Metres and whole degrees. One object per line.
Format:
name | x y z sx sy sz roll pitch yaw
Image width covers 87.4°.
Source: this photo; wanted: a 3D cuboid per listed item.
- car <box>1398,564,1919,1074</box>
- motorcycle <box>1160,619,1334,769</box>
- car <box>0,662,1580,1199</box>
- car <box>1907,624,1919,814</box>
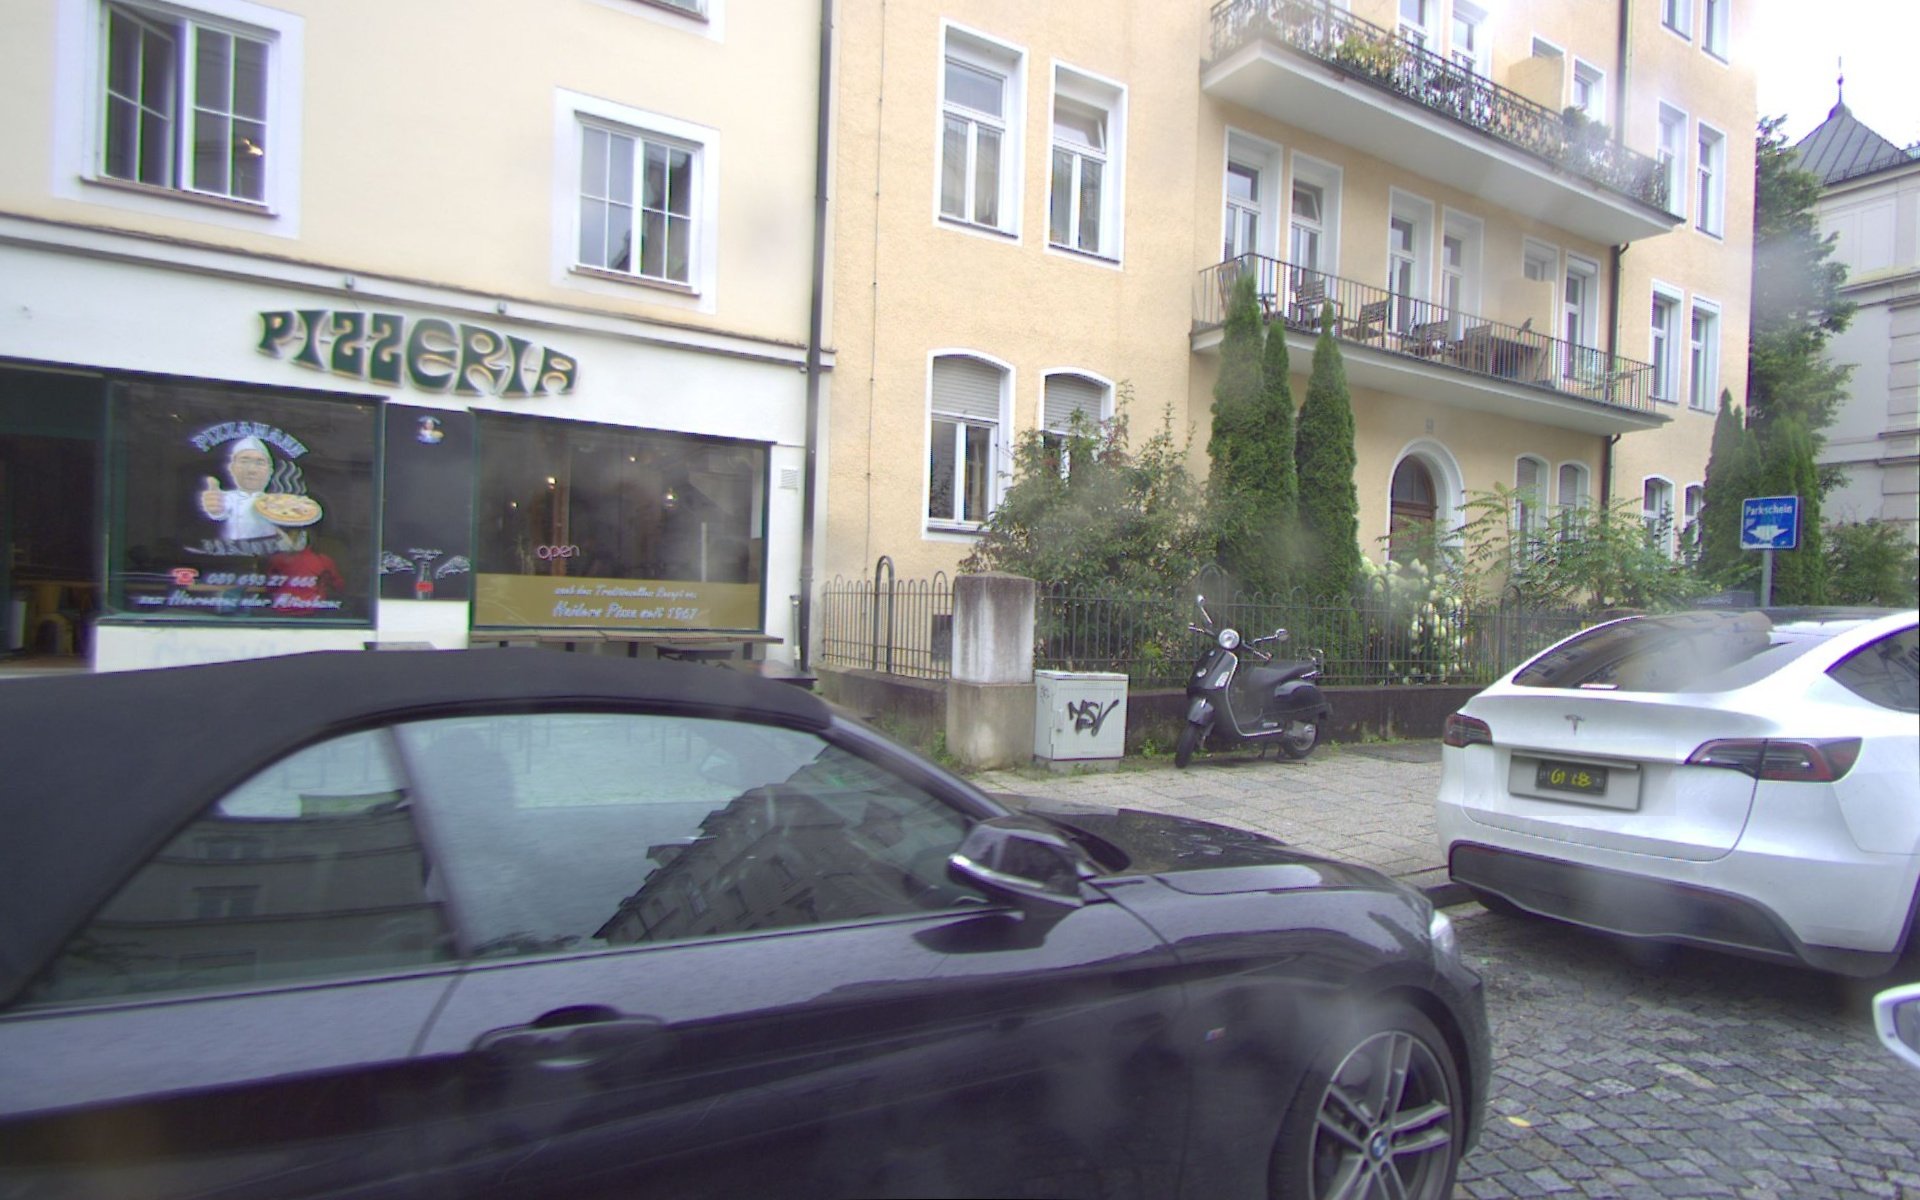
car | 4.431 0.812 5.141 4.338 1.669 1.766 2 -2 -29
motorcycle | 2.534 0.798 8.813 1.561 1.210 0.488 2 0 -31
car | -0.742 0.830 2.133 4.342 1.377 1.764 2 -4 -32
car | 9.594 1.002 8.014 4.339 1.448 1.765 2 0 -30
